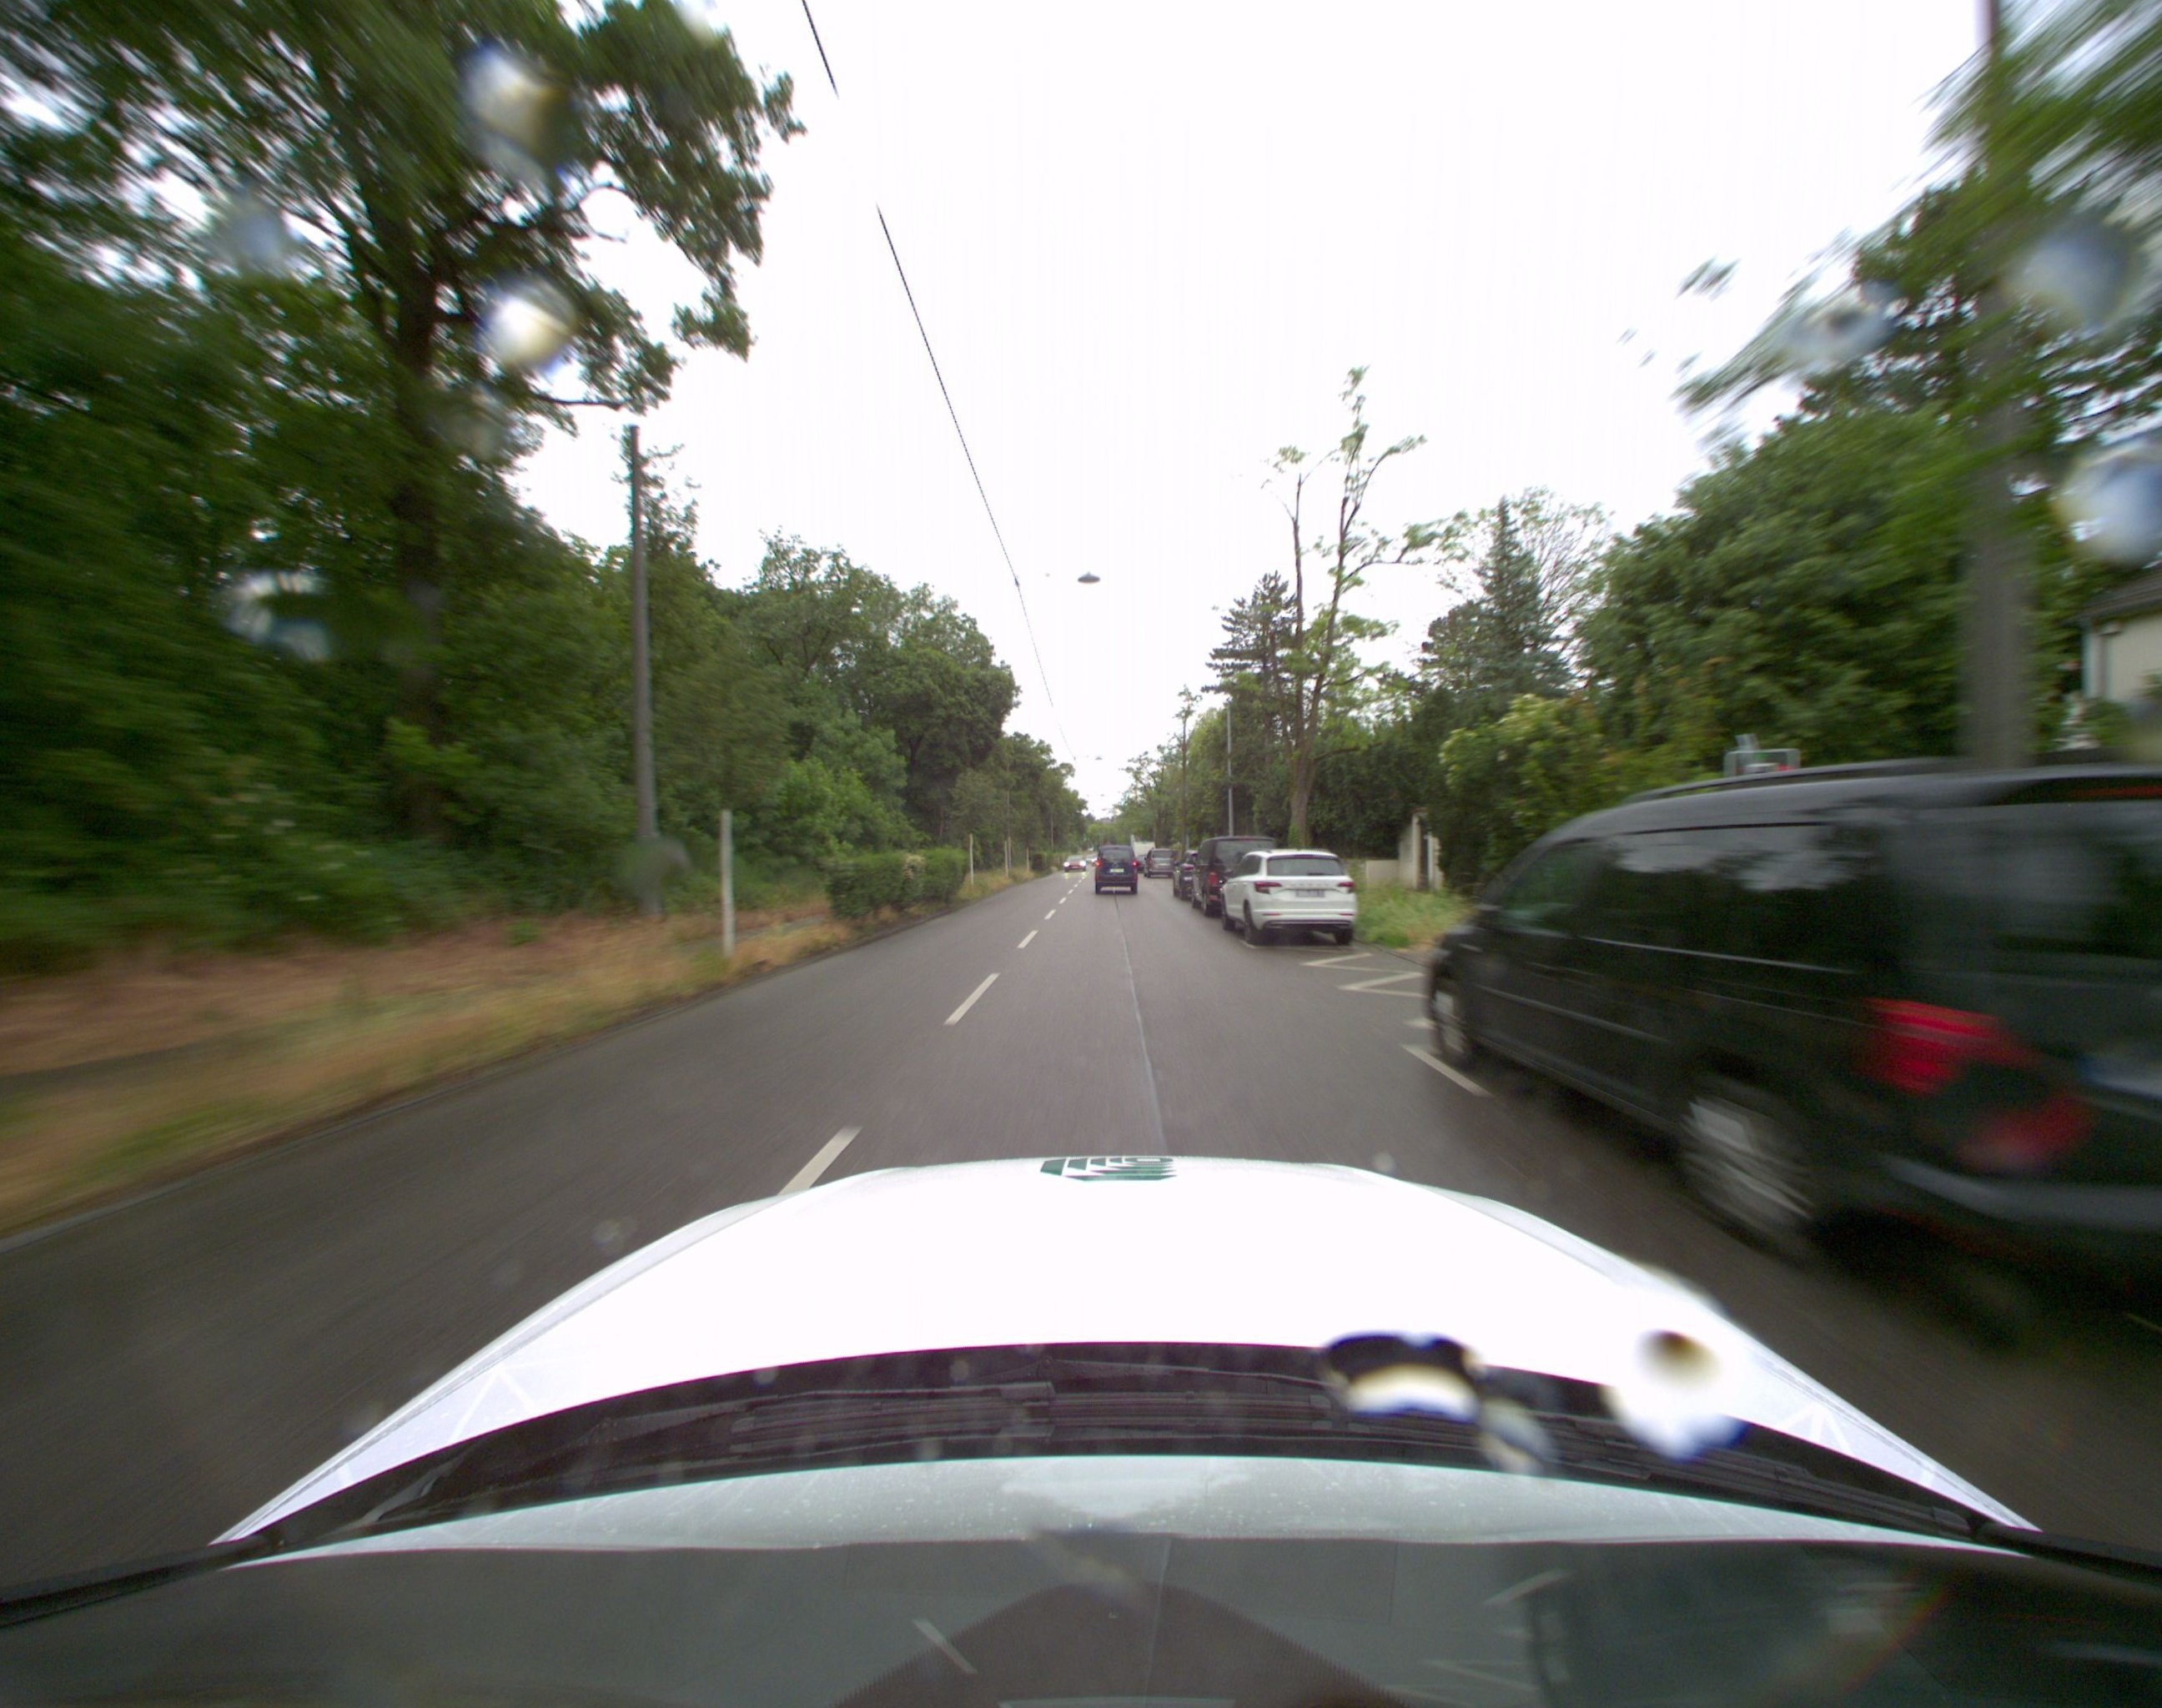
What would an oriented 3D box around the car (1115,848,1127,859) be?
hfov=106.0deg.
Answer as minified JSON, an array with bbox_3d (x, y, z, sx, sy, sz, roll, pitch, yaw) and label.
[{"bbox_3d":[5.789,-0.104,118.772,1.613,1.508,3.835,0,1,0],"label":"car"}]

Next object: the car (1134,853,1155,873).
[{"bbox_3d":[5.018,0.685,64.252,1.618,1.464,3.813,0,1,5],"label":"car"}]

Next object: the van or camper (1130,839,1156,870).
[{"bbox_3d":[5.449,0.013,72.231,2.071,2.650,5.348,0,1,2],"label":"van or camper"}]

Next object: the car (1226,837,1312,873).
[{"bbox_3d":[10.410,0.072,45.385,4.292,1.682,2.001,-4,-1,2],"label":"car"}]

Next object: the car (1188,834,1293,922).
[{"bbox_3d":[4.010,0.526,21.325,1.986,2.013,4.891,0,1,2],"label":"car"}]

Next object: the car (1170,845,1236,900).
[{"bbox_3d":[4.103,0.568,27.921,1.767,1.723,4.329,0,1,2],"label":"car"}]

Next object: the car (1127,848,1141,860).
[{"bbox_3d":[6.871,-0.034,105.168,1.714,1.505,4.053,0,1,2],"label":"car"}]

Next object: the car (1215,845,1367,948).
[{"bbox_3d":[3.668,0.649,15.025,1.798,1.613,4.287,0,1,1],"label":"car"}]

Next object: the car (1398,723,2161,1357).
[{"bbox_3d":[3.372,0.519,4.483,1.723,1.847,4.232,0,1,2],"label":"car"}]

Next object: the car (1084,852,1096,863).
[{"bbox_3d":[1.436,0.571,126.092,1.777,1.479,3.968,-2,-1,1],"label":"car"}]

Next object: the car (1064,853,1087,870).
[{"bbox_3d":[-0.458,0.661,73.069,1.853,1.480,4.159,-2,0,2],"label":"car"}]

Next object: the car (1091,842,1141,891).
[{"bbox_3d":[1.322,0.445,31.891,1.762,1.830,3.540,0,1,-1],"label":"car"}]

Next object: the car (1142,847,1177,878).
[{"bbox_3d":[4.915,0.507,51.665,1.808,1.813,4.283,0,1,0],"label":"car"}]
